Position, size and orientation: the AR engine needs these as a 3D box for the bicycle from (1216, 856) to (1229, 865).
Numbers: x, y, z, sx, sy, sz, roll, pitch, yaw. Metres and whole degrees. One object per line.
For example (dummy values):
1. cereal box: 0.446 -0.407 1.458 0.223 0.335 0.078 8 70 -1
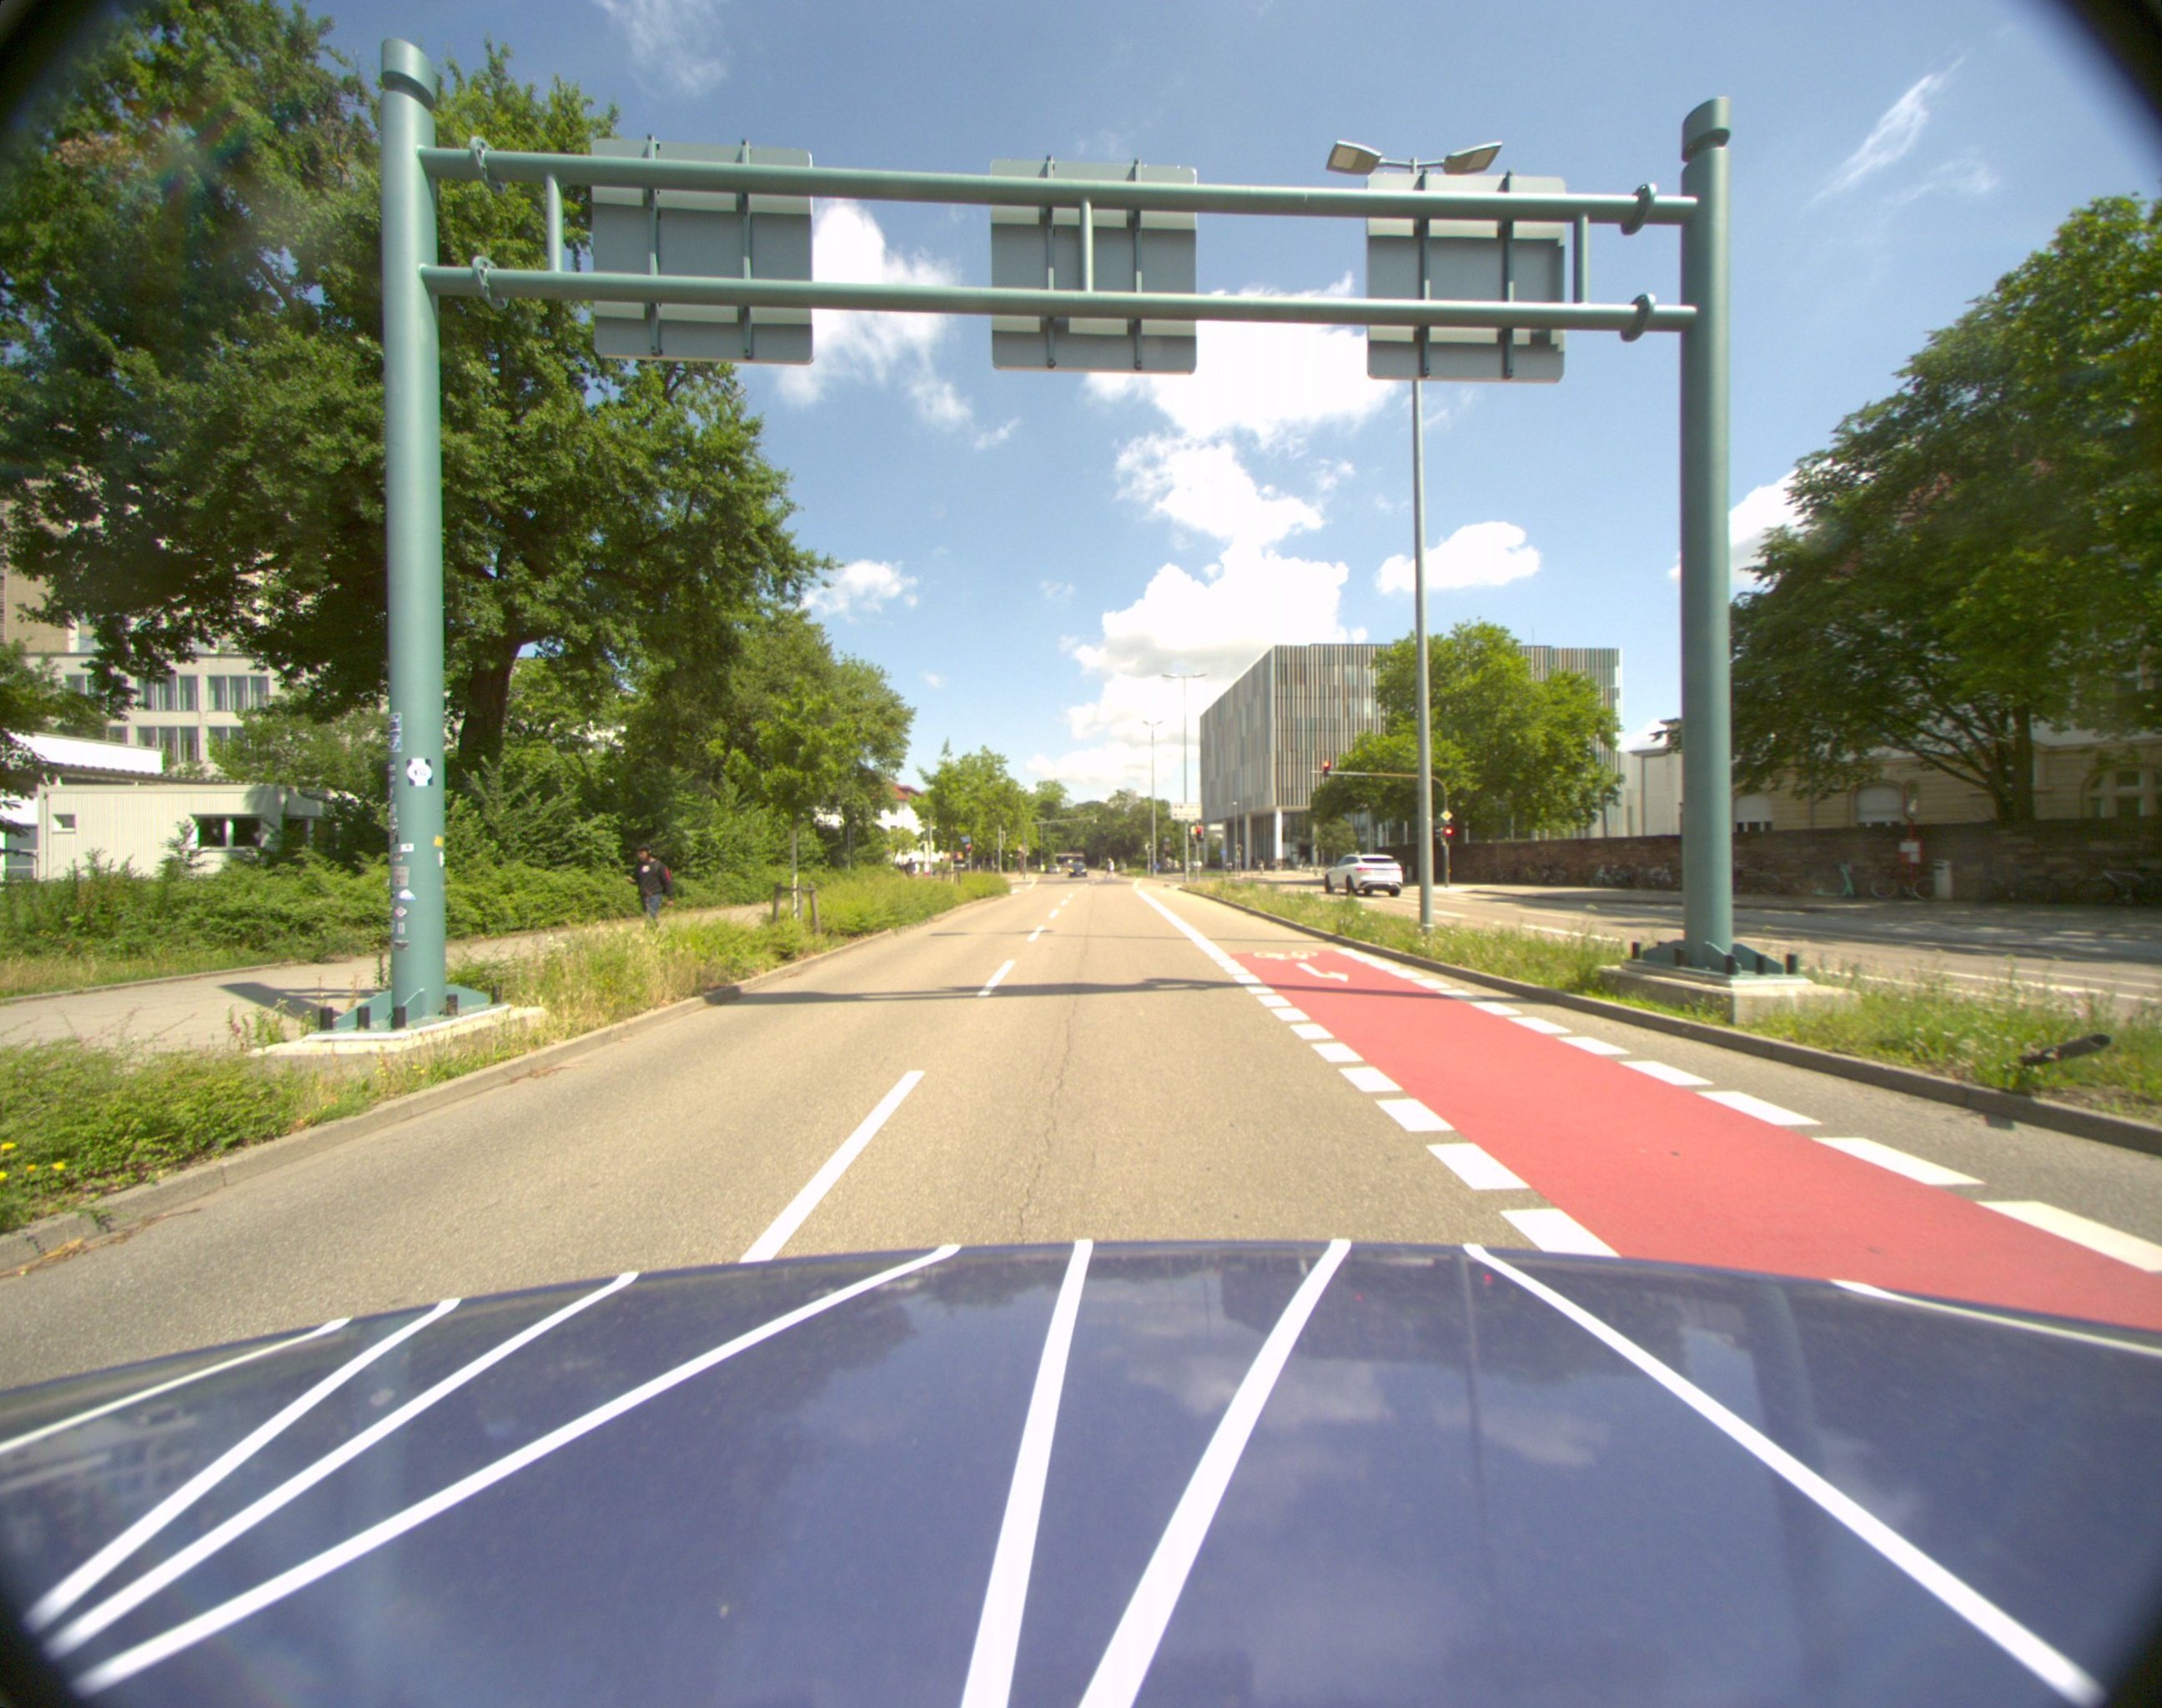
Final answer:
1. bicycle: 23.635 1.155 126.867 2.071 1.486 0.621 -1 0 1

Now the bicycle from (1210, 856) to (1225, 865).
1. bicycle: 23.223 1.139 129.432 2.511 1.486 0.621 -1 0 1

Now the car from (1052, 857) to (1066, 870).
1. car: -3.345 1.419 114.836 1.913 1.772 3.999 -1 0 -3

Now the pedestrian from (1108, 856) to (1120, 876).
1. pedestrian: 3.166 1.129 72.545 1.108 1.914 0.972 -1 0 4

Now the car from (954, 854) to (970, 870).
1. car: -15.642 1.022 99.841 2.000 2.042 4.226 -1 0 -8

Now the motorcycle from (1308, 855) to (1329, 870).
1. motorcycle: 28.321 1.004 90.444 3.305 1.630 0.969 0 0 -45

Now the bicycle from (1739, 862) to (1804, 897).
1. bicycle: 23.981 0.868 26.427 0.534 1.145 1.591 -1 0 -21

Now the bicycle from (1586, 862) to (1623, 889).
1. bicycle: 23.301 0.943 33.843 0.413 1.145 1.593 -1 0 -5

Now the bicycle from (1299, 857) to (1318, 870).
1. bicycle: 27.357 1.113 91.398 2.693 1.485 0.930 -1 0 -44

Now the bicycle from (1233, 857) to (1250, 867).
1. bicycle: 23.988 1.258 113.747 2.451 1.486 0.621 -1 0 1

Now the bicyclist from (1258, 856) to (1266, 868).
1. bicyclist: 18.639 0.776 78.239 0.617 1.219 0.835 -1 0 24

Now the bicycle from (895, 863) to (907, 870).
1. bicycle: -23.580 1.610 99.625 1.428 0.945 0.352 -1 0 -5

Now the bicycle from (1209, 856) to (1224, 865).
1. bicycle: 23.317 1.129 130.544 2.511 1.486 0.621 -1 0 1

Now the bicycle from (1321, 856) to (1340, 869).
1. bicycle: 29.438 0.971 89.477 1.049 1.543 3.422 -1 0 37

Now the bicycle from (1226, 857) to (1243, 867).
1. bicycle: 23.695 1.231 117.435 2.511 1.486 0.621 -1 0 1

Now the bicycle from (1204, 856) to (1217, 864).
1. bicycle: 23.221 1.085 136.226 2.302 1.486 0.657 -1 0 1

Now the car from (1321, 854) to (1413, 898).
1. car: 11.498 0.841 30.954 2.076 1.657 4.776 -1 0 2

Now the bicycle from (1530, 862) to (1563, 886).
1. bicycle: 22.773 0.949 37.217 0.500 1.145 1.593 -1 0 -8

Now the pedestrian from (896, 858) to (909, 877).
1. pedestrian: -18.258 1.392 77.726 1.030 1.914 0.973 -1 0 12

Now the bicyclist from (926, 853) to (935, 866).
1. bicyclist: -17.072 0.617 85.933 0.972 1.436 1.076 -1 0 -12

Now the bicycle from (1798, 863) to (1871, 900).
1. bicycle: 24.457 0.868 24.686 0.534 1.145 1.591 -1 0 -21

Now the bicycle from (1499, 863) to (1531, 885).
1. bicycle: 22.472 1.017 39.355 0.573 1.092 1.593 -1 0 -8

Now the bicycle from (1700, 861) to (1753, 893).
1. bicycle: 23.852 0.833 28.122 0.403 1.145 1.593 -1 0 -11

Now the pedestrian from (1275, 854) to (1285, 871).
1. pedestrian: 22.766 0.953 86.830 0.969 1.914 0.880 -1 0 27

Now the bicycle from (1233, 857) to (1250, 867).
1. bicycle: 24.277 1.245 114.752 2.509 1.486 0.730 -1 0 10

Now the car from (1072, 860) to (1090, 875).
1. car: -0.071 1.476 83.581 1.846 1.593 3.999 -1 0 -2

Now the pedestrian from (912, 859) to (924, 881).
1. pedestrian: -13.719 1.320 63.976 0.878 1.861 0.971 -1 0 -4

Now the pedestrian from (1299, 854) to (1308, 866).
1. pedestrian: 29.766 0.802 101.586 1.012 1.697 1.212 -1 0 21

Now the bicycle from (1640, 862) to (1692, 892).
1. bicycle: 23.237 0.908 30.220 0.403 1.145 1.590 -1 0 -32

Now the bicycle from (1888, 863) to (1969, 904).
1. bicycle: 24.886 0.844 22.343 0.433 1.136 1.593 -1 0 -12

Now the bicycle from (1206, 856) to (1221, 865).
1. bicycle: 23.264 1.107 133.307 2.511 1.486 0.621 -1 0 1

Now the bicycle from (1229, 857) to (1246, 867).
1. bicycle: 24.439 1.215 118.332 2.511 1.486 0.621 -1 0 1

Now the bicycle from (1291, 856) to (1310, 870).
1. bicycle: 26.592 1.033 92.133 0.808 1.634 3.422 -1 0 42

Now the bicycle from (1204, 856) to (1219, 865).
1. bicycle: 23.012 1.103 134.240 2.511 1.486 0.621 -1 0 1

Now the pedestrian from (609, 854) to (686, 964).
1. pedestrian: -6.959 0.855 12.235 0.718 1.711 0.837 -1 1 2

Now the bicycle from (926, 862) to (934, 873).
1. bicycle: -17.061 1.526 85.975 0.885 1.244 2.163 -1 0 -12

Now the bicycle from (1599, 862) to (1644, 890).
1. bicycle: 23.043 0.926 32.412 0.403 1.145 1.591 -1 0 -22

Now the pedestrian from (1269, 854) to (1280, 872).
1. pedestrian: 21.401 1.001 84.112 0.969 1.914 0.880 -1 1 30

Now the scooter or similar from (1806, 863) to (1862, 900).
1. scooter or similar: 23.844 0.854 24.068 0.433 1.145 1.191 -1 0 -20

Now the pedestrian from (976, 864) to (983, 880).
1. pedestrian: -9.625 1.692 72.307 0.591 1.495 0.416 -1 1 -18

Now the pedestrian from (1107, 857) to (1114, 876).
1. pedestrian: 2.829 1.178 73.554 0.646 1.815 0.689 -1 0 1

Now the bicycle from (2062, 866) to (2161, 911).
1. bicycle: 25.546 0.813 18.519 0.545 1.041 1.948 -1 0 -11

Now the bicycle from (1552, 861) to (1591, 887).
1. bicycle: 22.958 0.925 35.582 0.623 1.145 1.593 -1 0 -8

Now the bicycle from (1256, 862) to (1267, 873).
1. bicycle: 18.576 1.383 78.091 0.646 0.992 2.167 -1 0 26

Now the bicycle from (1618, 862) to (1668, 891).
1. bicycle: 23.097 0.901 31.260 0.403 1.145 1.590 -1 0 -32

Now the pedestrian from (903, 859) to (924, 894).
1. pedestrian: -8.324 1.128 37.800 0.815 1.711 0.929 -1 0 2

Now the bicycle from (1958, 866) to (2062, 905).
1. bicycle: 25.181 0.828 20.639 0.482 1.002 1.800 -1 0 -8

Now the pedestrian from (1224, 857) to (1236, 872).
1. pedestrian: 16.494 1.159 84.088 0.972 1.619 0.878 -1 0 -11
